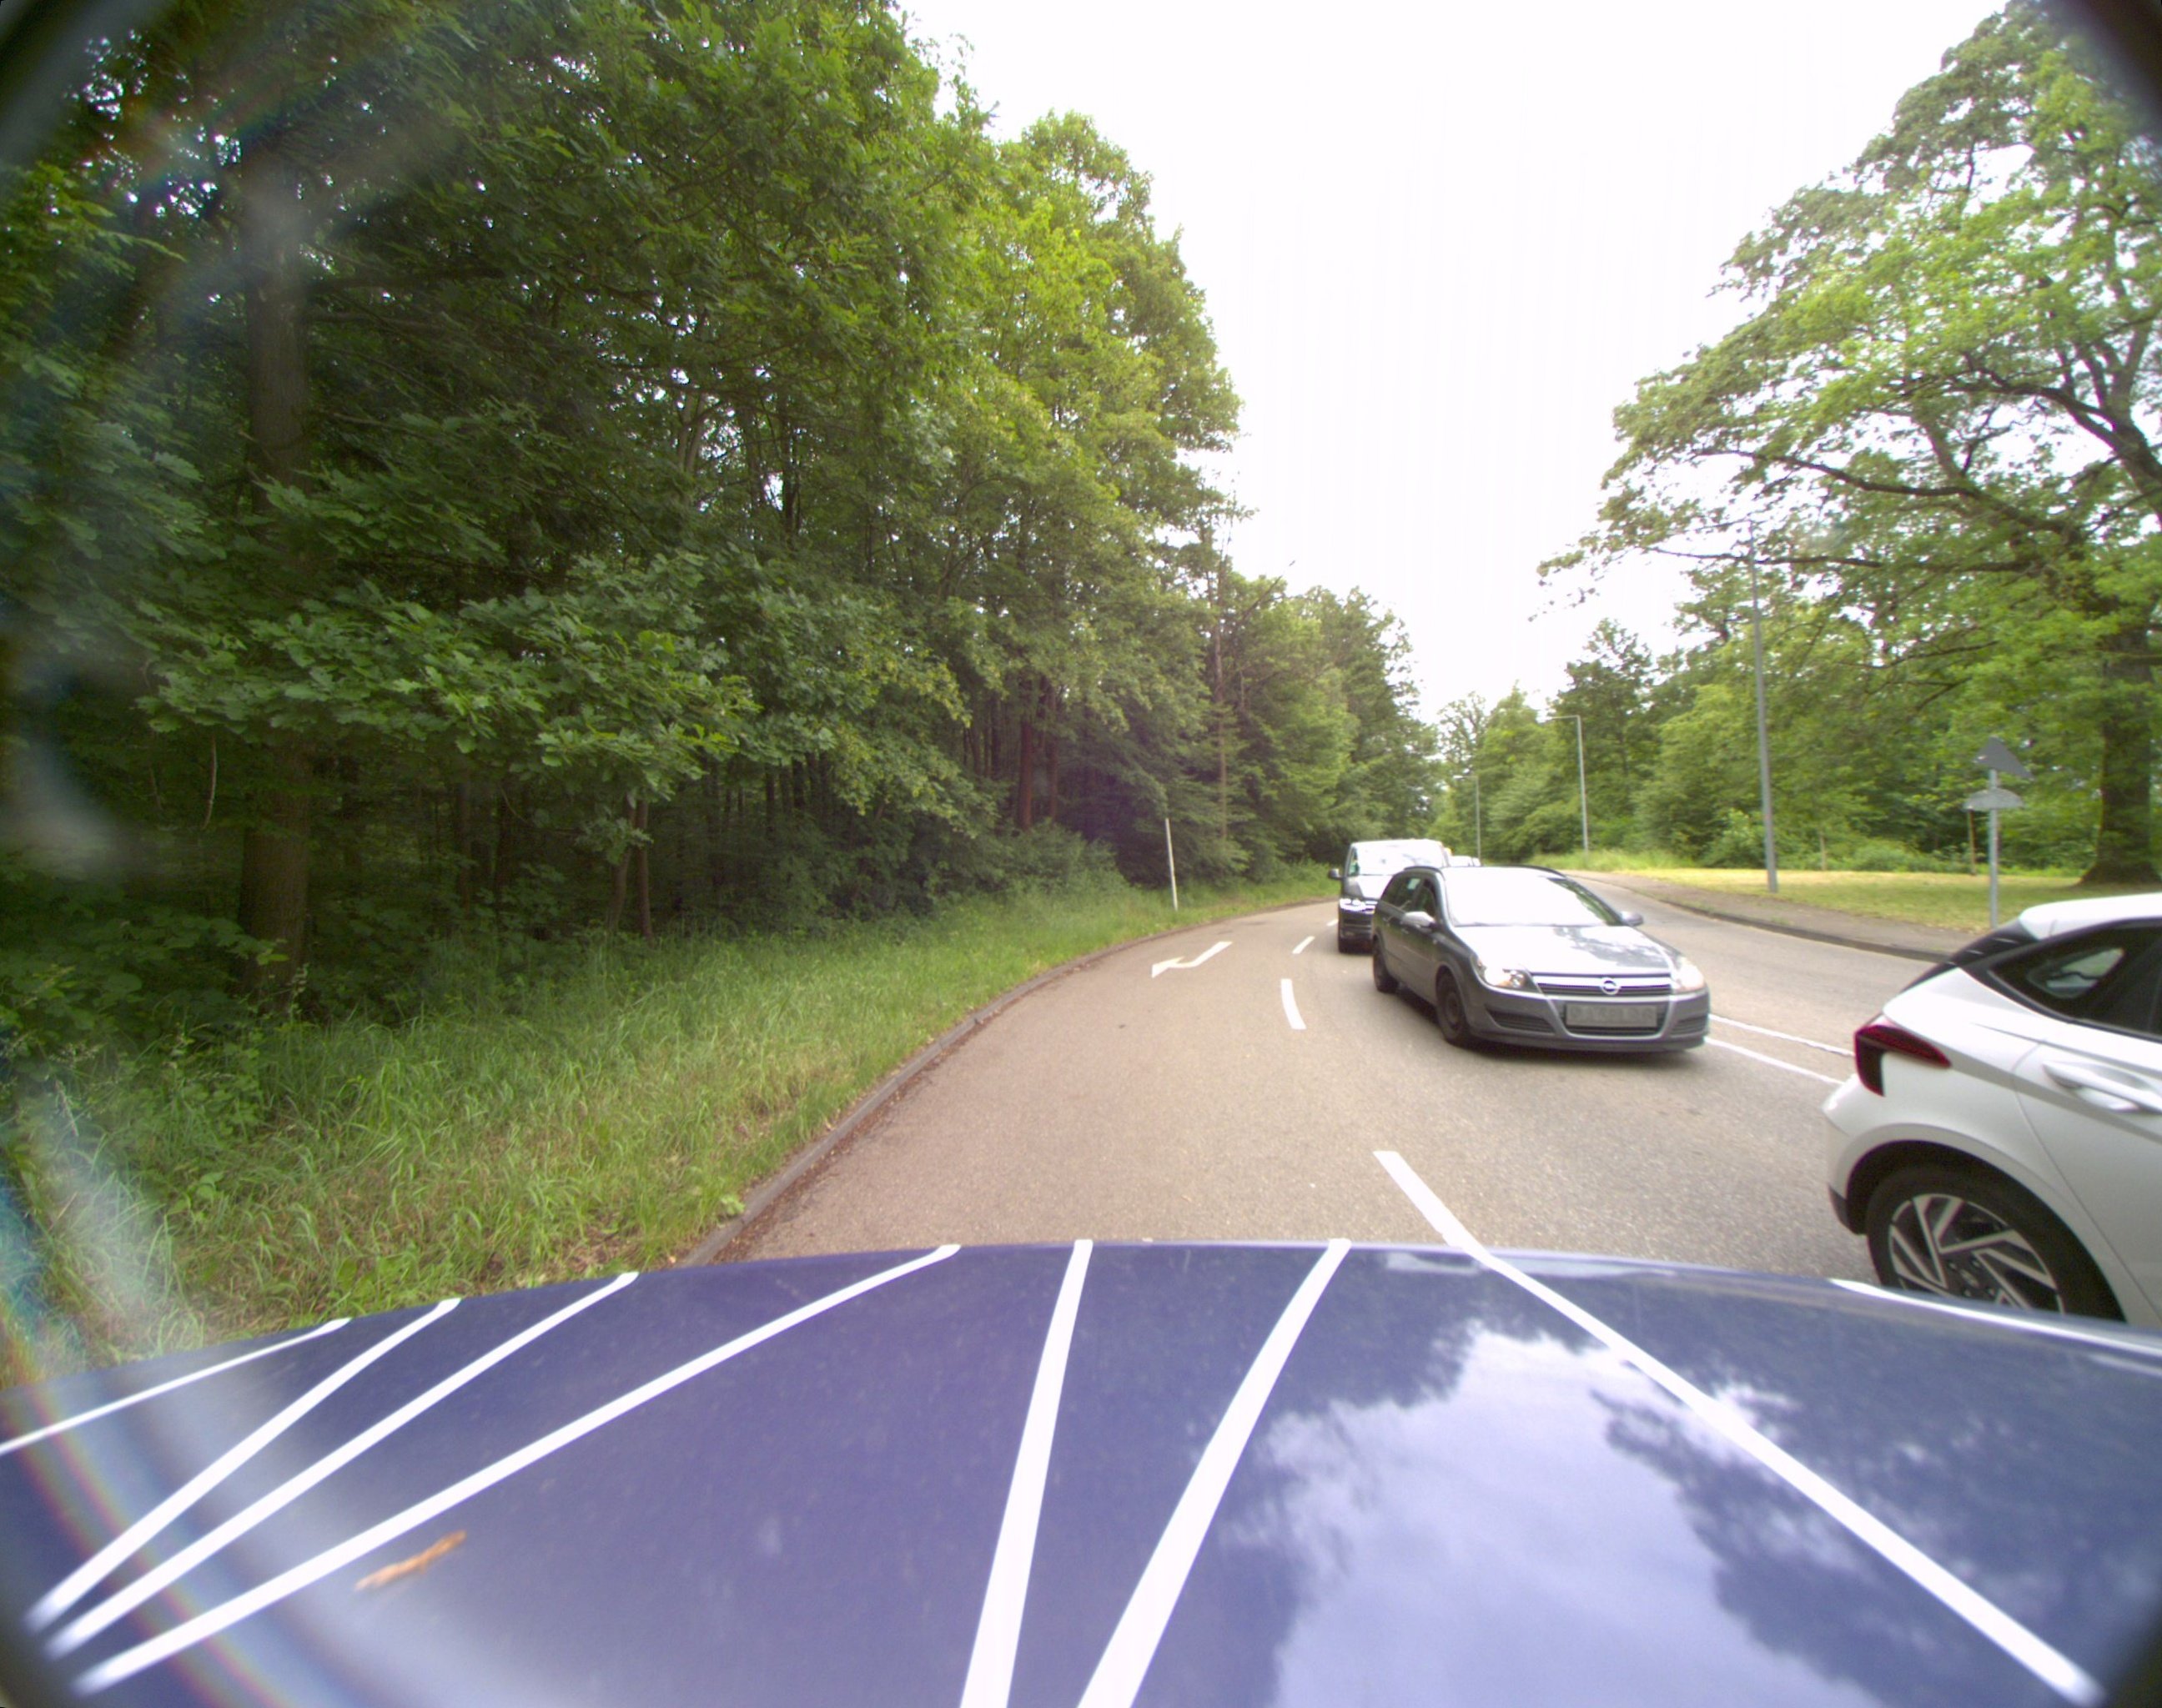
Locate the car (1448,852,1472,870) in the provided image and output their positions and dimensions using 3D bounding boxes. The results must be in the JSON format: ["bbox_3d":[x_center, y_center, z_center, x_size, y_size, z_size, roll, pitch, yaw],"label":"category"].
[{"bbox_3d":[34.170,0.613,68.480,1.775,1.490,3.880,-2,-1,28],"label":"car"}]

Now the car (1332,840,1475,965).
[{"bbox_3d":[5.747,0.761,13.838,1.987,1.861,4.539,-1,-1,21],"label":"car"}]

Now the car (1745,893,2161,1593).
[{"bbox_3d":[3.144,0.861,0.672,1.653,1.470,4.074,-1,-1,3],"label":"car"}]

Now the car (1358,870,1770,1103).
[{"bbox_3d":[4.012,0.936,7.325,1.801,1.470,4.474,-1,-1,11],"label":"car"}]

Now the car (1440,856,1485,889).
[{"bbox_3d":[18.297,0.848,36.558,1.775,1.490,3.880,-2,-1,25],"label":"car"}]

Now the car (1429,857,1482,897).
[{"bbox_3d":[15.204,0.902,30.958,1.775,1.490,3.880,-2,-1,25],"label":"car"}]

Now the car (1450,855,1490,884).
[{"bbox_3d":[20.956,0.803,41.031,1.775,1.490,3.880,-2,-1,25],"label":"car"}]

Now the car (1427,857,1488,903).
[{"bbox_3d":[13.404,0.889,27.179,1.775,1.490,3.880,-2,-1,25],"label":"car"}]

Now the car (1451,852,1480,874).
[{"bbox_3d":[27.624,0.634,54.524,1.775,1.490,3.880,-2,-1,28],"label":"car"}]
